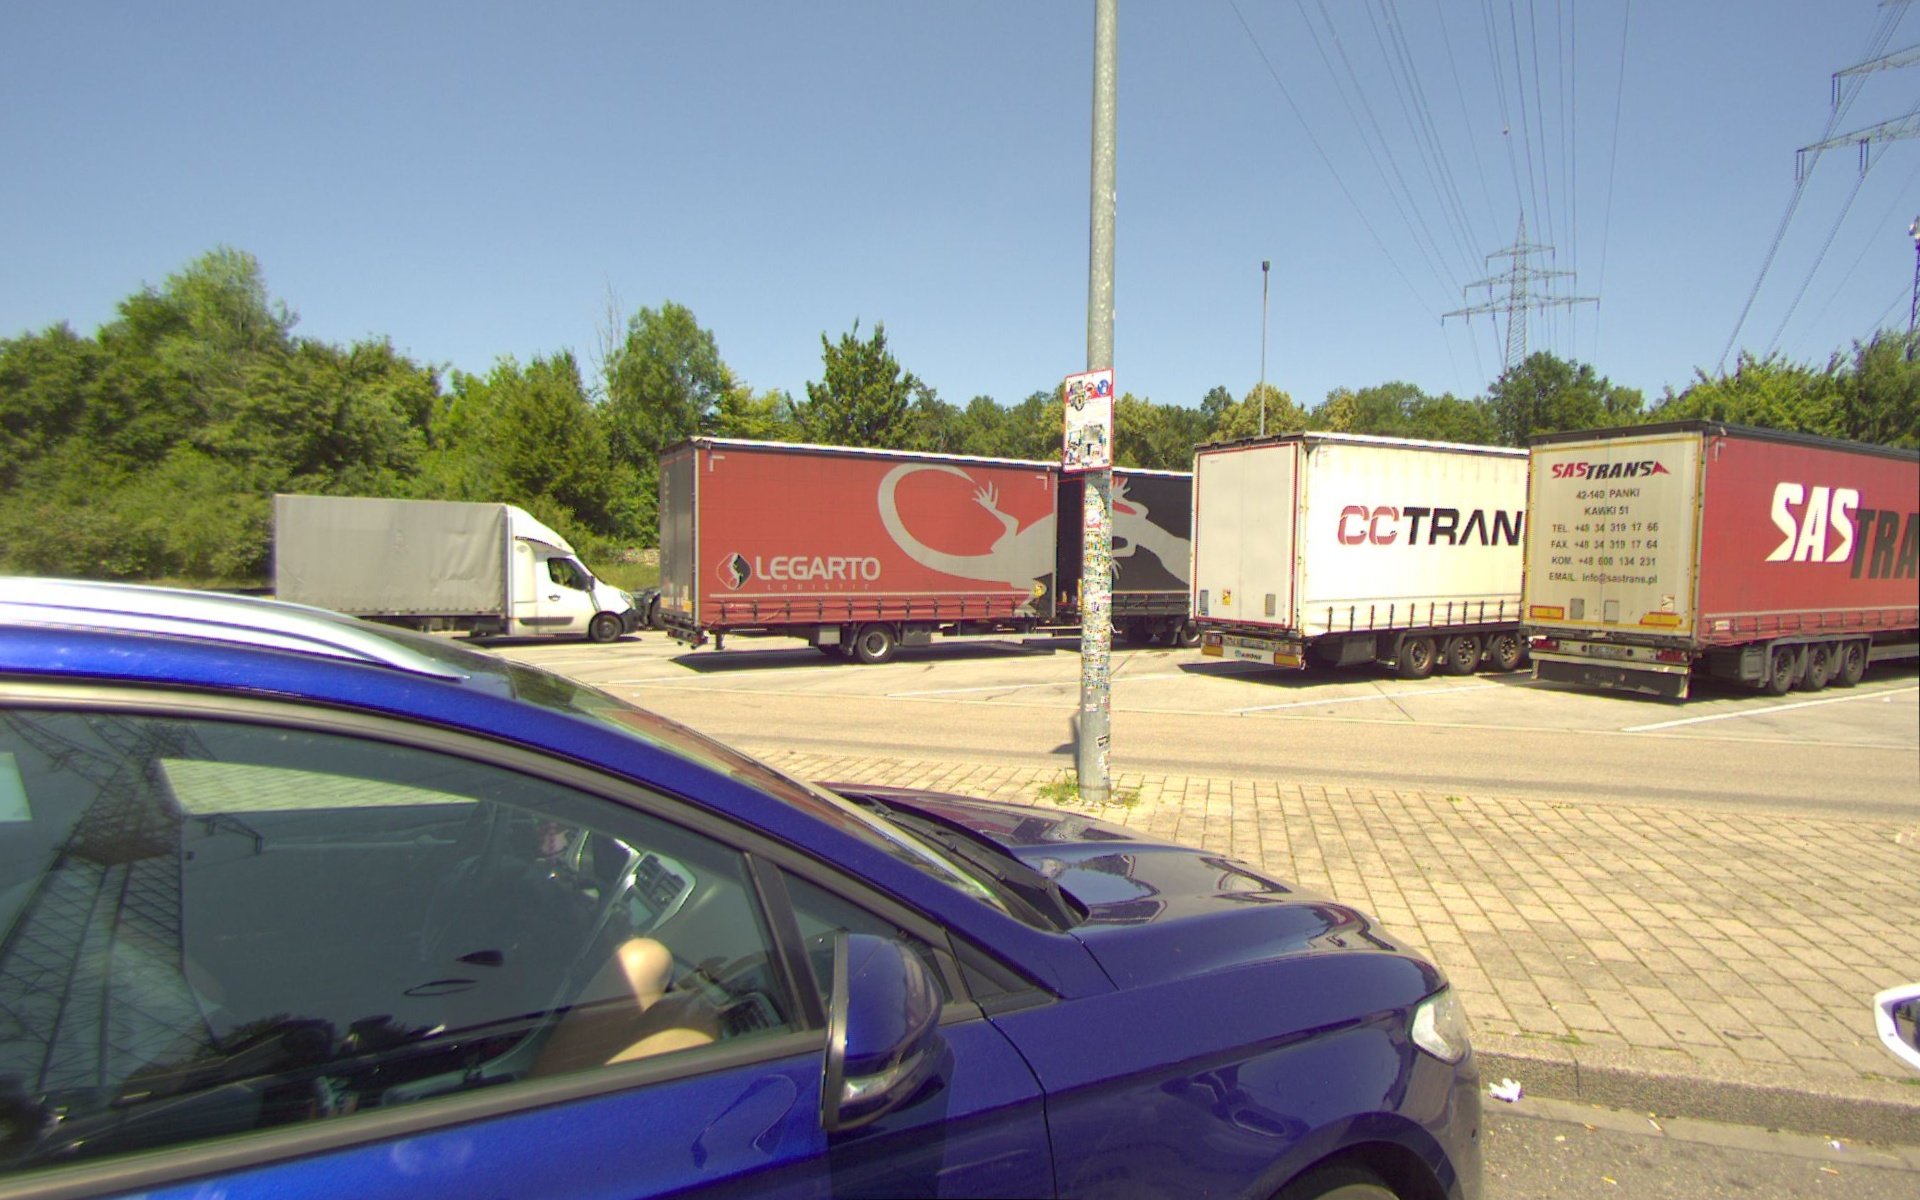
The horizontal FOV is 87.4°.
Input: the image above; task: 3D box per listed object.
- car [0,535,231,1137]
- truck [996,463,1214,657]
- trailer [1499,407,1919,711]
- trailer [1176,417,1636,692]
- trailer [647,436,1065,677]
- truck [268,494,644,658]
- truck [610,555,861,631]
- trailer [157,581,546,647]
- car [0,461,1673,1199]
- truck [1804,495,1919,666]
[{"bbox_3d":[-4.547,0.582,2.255,4.592,1.554,1.726,0,1,-33],"label":"car"},{"bbox_3d":[3.361,-0.907,23.362,4.273,4.072,2.689,-1,3,-30],"label":"truck"},{"bbox_3d":[15.410,-0.705,18.565,13.559,4.189,2.892,-1,3,-30],"label":"trailer"},{"bbox_3d":[8.871,-0.823,19.329,10.049,4.267,2.714,-1,3,-30],"label":"trailer"},{"bbox_3d":[-1.921,-0.833,20.267,7.996,4.101,2.696,-1,3,-30],"label":"trailer"},{"bbox_3d":[-11.198,-0.577,22.902,7.254,3.254,2.515,-1,3,-30],"label":"truck"},{"bbox_3d":[-6.478,-0.168,29.526,6.961,2.040,1.984,0,0,-30],"label":"truck"},{"bbox_3d":[-14.826,0.255,25.186,7.996,1.394,2.211,-1,3,-30],"label":"trailer"},{"bbox_3d":[-0.974,0.655,1.470,4.592,1.502,1.727,0,0,-33],"label":"car"},{"bbox_3d":[21.732,-0.434,22.310,5.418,3.475,2.838,-1,3,-30],"label":"truck"}]
